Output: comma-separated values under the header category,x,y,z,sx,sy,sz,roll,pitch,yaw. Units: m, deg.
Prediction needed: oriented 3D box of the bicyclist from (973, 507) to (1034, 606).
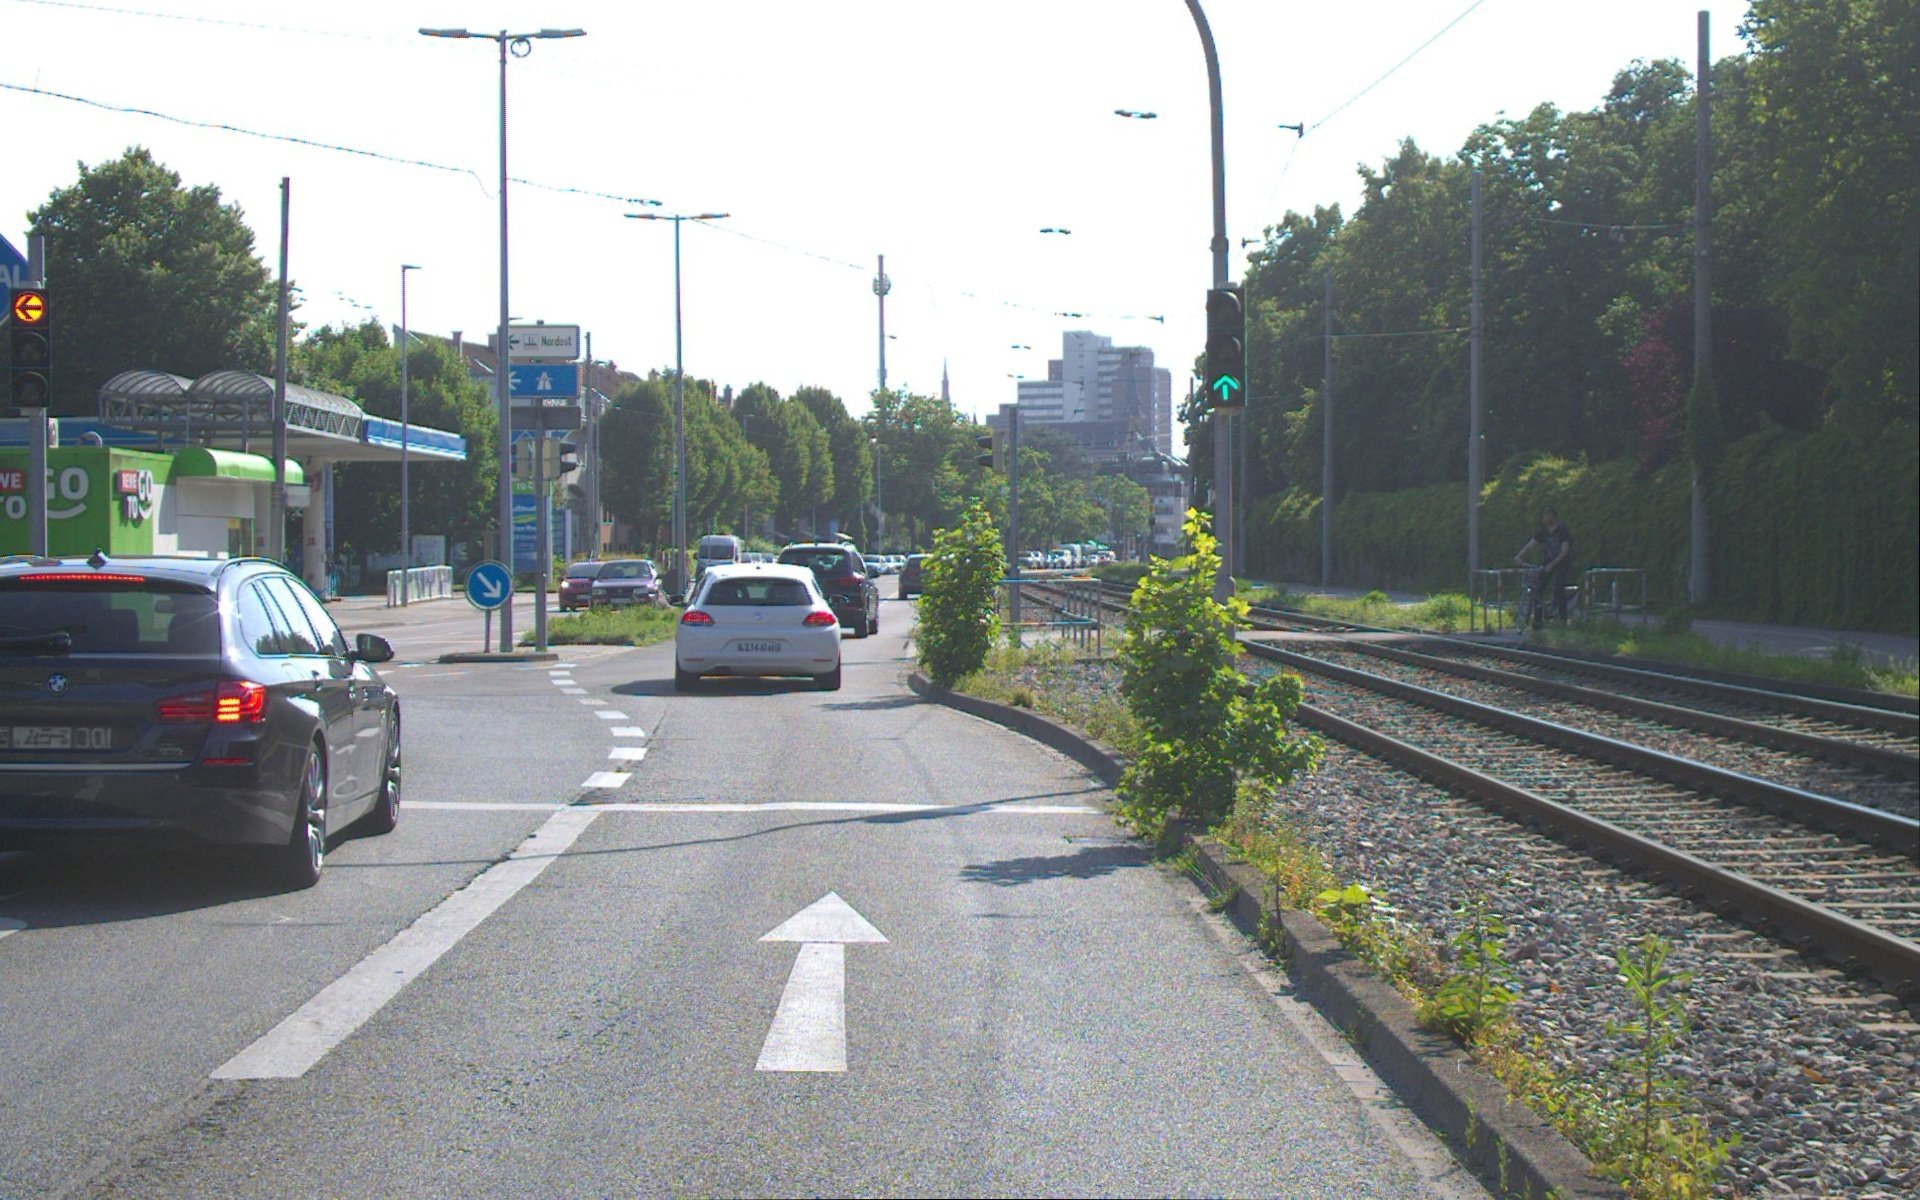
category,x,y,z,sx,sy,sz,roll,pitch,yaw
bicyclist,0.633,-0.625,50.028,0.644,1.411,1.012,0,-1,16

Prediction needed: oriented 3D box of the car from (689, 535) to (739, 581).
category,x,y,z,sx,sy,sz,roll,pitch,yaw
car,-12.833,-2.214,179.507,1.994,2.368,4.538,-1,1,3

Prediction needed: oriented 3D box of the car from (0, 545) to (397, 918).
category,x,y,z,sx,sy,sz,roll,pitch,yaw
car,-3.794,0.503,16.347,1.760,1.480,4.646,1,1,-4

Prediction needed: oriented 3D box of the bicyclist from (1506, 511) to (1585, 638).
category,x,y,z,sx,sy,sz,roll,pitch,yaw
bicyclist,9.275,-0.410,54.435,1.034,1.987,0.946,0,1,24

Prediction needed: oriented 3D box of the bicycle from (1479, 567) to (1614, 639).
category,x,y,z,sx,sy,sz,roll,pitch,yaw
bicycle,9.286,0.037,54.438,1.923,1.111,0.946,0,1,24

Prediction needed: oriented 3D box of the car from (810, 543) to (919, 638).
category,x,y,z,sx,sy,sz,roll,pitch,yaw
car,-1.710,-0.197,60.643,1.724,1.587,3.602,1,1,-4

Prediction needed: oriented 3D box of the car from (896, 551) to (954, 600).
category,x,y,z,sx,sy,sz,roll,pitch,yaw
car,-1.094,-0.791,109.507,1.749,1.480,3.601,2,1,0

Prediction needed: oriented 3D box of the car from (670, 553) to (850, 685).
category,x,y,z,sx,sy,sz,roll,pitch,yaw
car,-2.181,0.179,38.357,1.781,1.351,3.601,2,1,0

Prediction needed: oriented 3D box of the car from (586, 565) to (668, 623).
category,x,y,z,sx,sy,sz,roll,pitch,yaw
car,-8.260,-0.167,85.537,1.653,1.390,4.134,0,1,0

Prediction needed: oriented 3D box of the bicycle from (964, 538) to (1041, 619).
category,x,y,z,sx,sy,sz,roll,pitch,yaw
bicycle,0.634,-0.303,50.010,0.643,1.150,1.935,1,0,15

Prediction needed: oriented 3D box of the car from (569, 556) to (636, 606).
category,x,y,z,sx,sy,sz,roll,pitch,yaw
car,-10.498,-0.570,101.080,1.574,1.412,3.333,0,1,1
